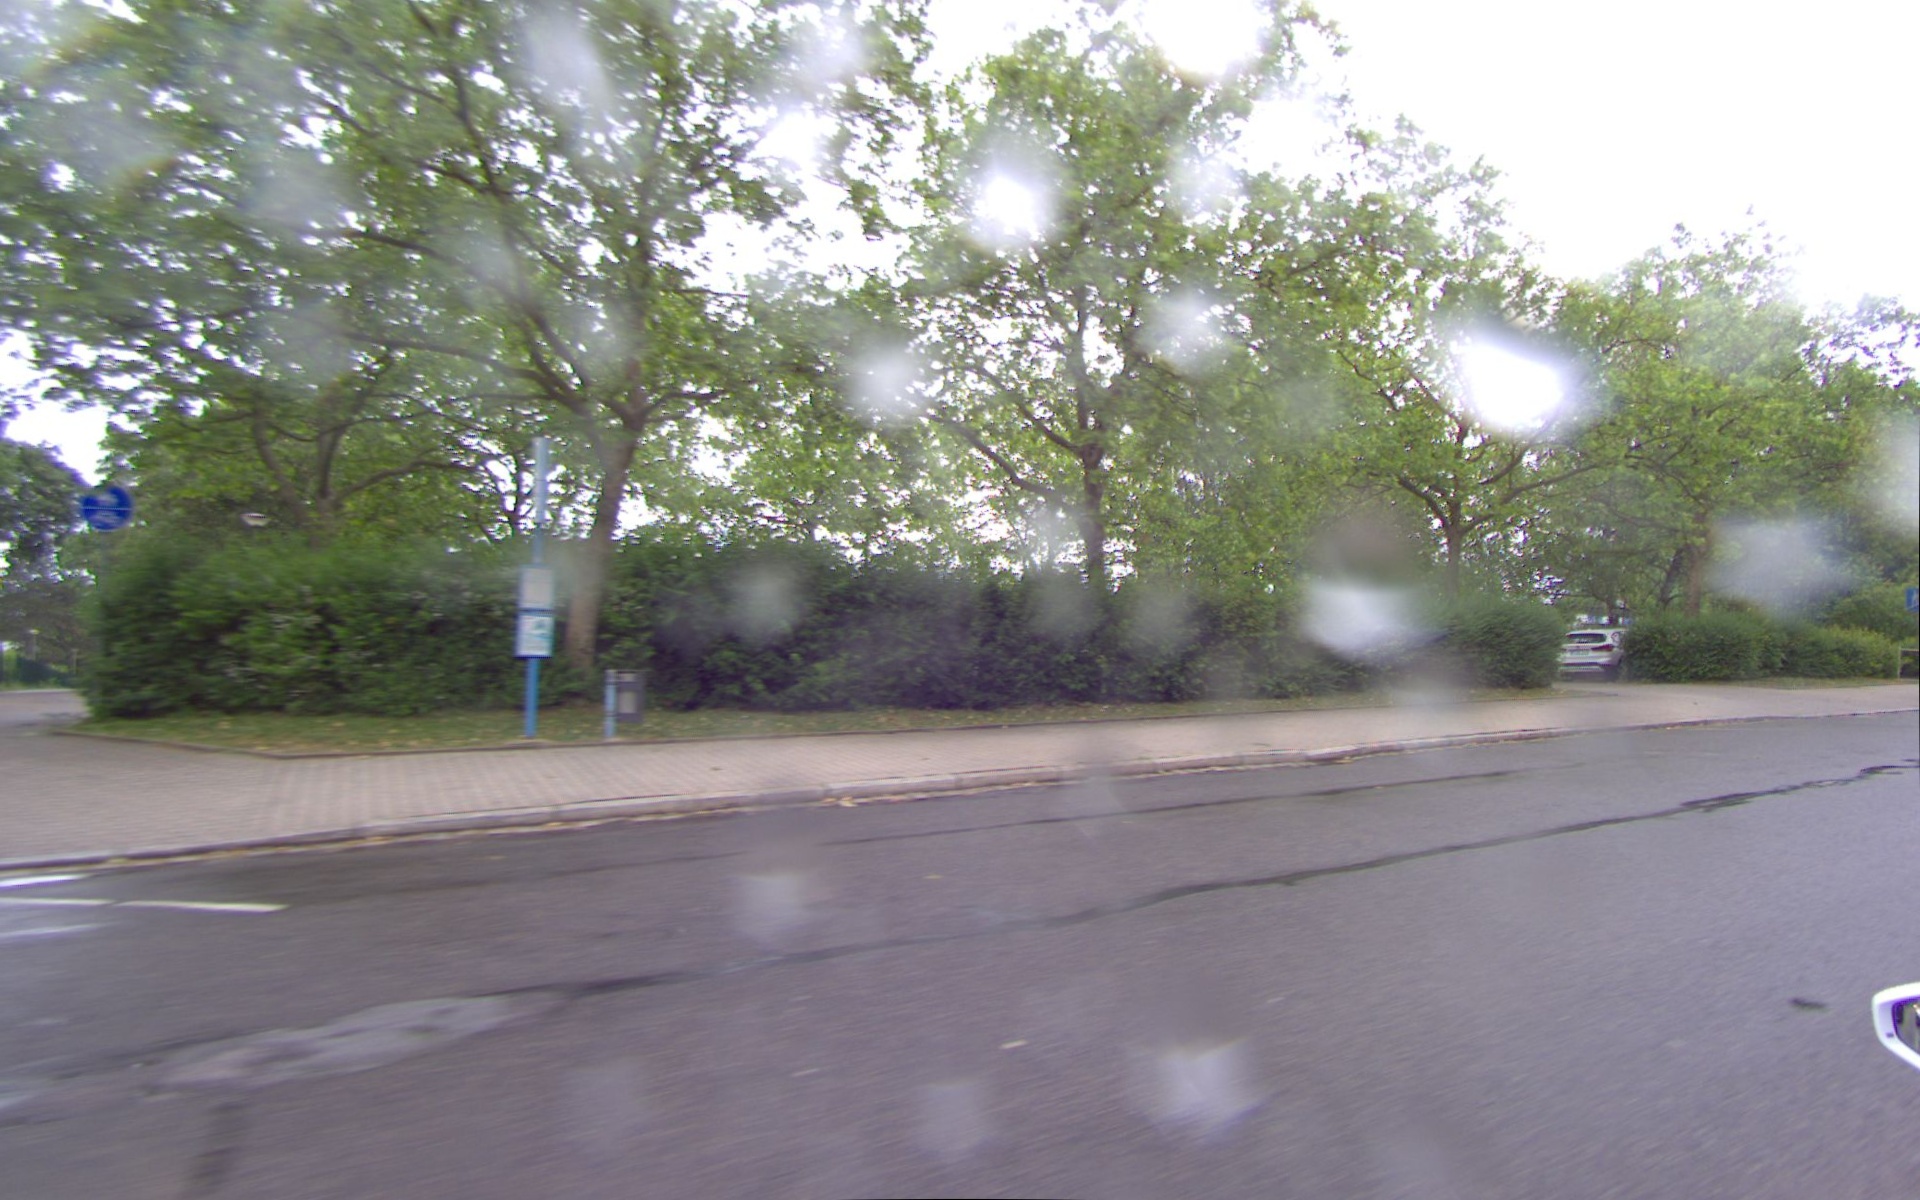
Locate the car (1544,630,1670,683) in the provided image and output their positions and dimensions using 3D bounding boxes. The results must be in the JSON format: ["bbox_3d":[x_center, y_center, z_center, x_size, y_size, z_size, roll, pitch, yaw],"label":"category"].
[{"bbox_3d":[20.095,1.741,31.175,3.957,1.530,1.785,1,-4,-33],"label":"car"}]
